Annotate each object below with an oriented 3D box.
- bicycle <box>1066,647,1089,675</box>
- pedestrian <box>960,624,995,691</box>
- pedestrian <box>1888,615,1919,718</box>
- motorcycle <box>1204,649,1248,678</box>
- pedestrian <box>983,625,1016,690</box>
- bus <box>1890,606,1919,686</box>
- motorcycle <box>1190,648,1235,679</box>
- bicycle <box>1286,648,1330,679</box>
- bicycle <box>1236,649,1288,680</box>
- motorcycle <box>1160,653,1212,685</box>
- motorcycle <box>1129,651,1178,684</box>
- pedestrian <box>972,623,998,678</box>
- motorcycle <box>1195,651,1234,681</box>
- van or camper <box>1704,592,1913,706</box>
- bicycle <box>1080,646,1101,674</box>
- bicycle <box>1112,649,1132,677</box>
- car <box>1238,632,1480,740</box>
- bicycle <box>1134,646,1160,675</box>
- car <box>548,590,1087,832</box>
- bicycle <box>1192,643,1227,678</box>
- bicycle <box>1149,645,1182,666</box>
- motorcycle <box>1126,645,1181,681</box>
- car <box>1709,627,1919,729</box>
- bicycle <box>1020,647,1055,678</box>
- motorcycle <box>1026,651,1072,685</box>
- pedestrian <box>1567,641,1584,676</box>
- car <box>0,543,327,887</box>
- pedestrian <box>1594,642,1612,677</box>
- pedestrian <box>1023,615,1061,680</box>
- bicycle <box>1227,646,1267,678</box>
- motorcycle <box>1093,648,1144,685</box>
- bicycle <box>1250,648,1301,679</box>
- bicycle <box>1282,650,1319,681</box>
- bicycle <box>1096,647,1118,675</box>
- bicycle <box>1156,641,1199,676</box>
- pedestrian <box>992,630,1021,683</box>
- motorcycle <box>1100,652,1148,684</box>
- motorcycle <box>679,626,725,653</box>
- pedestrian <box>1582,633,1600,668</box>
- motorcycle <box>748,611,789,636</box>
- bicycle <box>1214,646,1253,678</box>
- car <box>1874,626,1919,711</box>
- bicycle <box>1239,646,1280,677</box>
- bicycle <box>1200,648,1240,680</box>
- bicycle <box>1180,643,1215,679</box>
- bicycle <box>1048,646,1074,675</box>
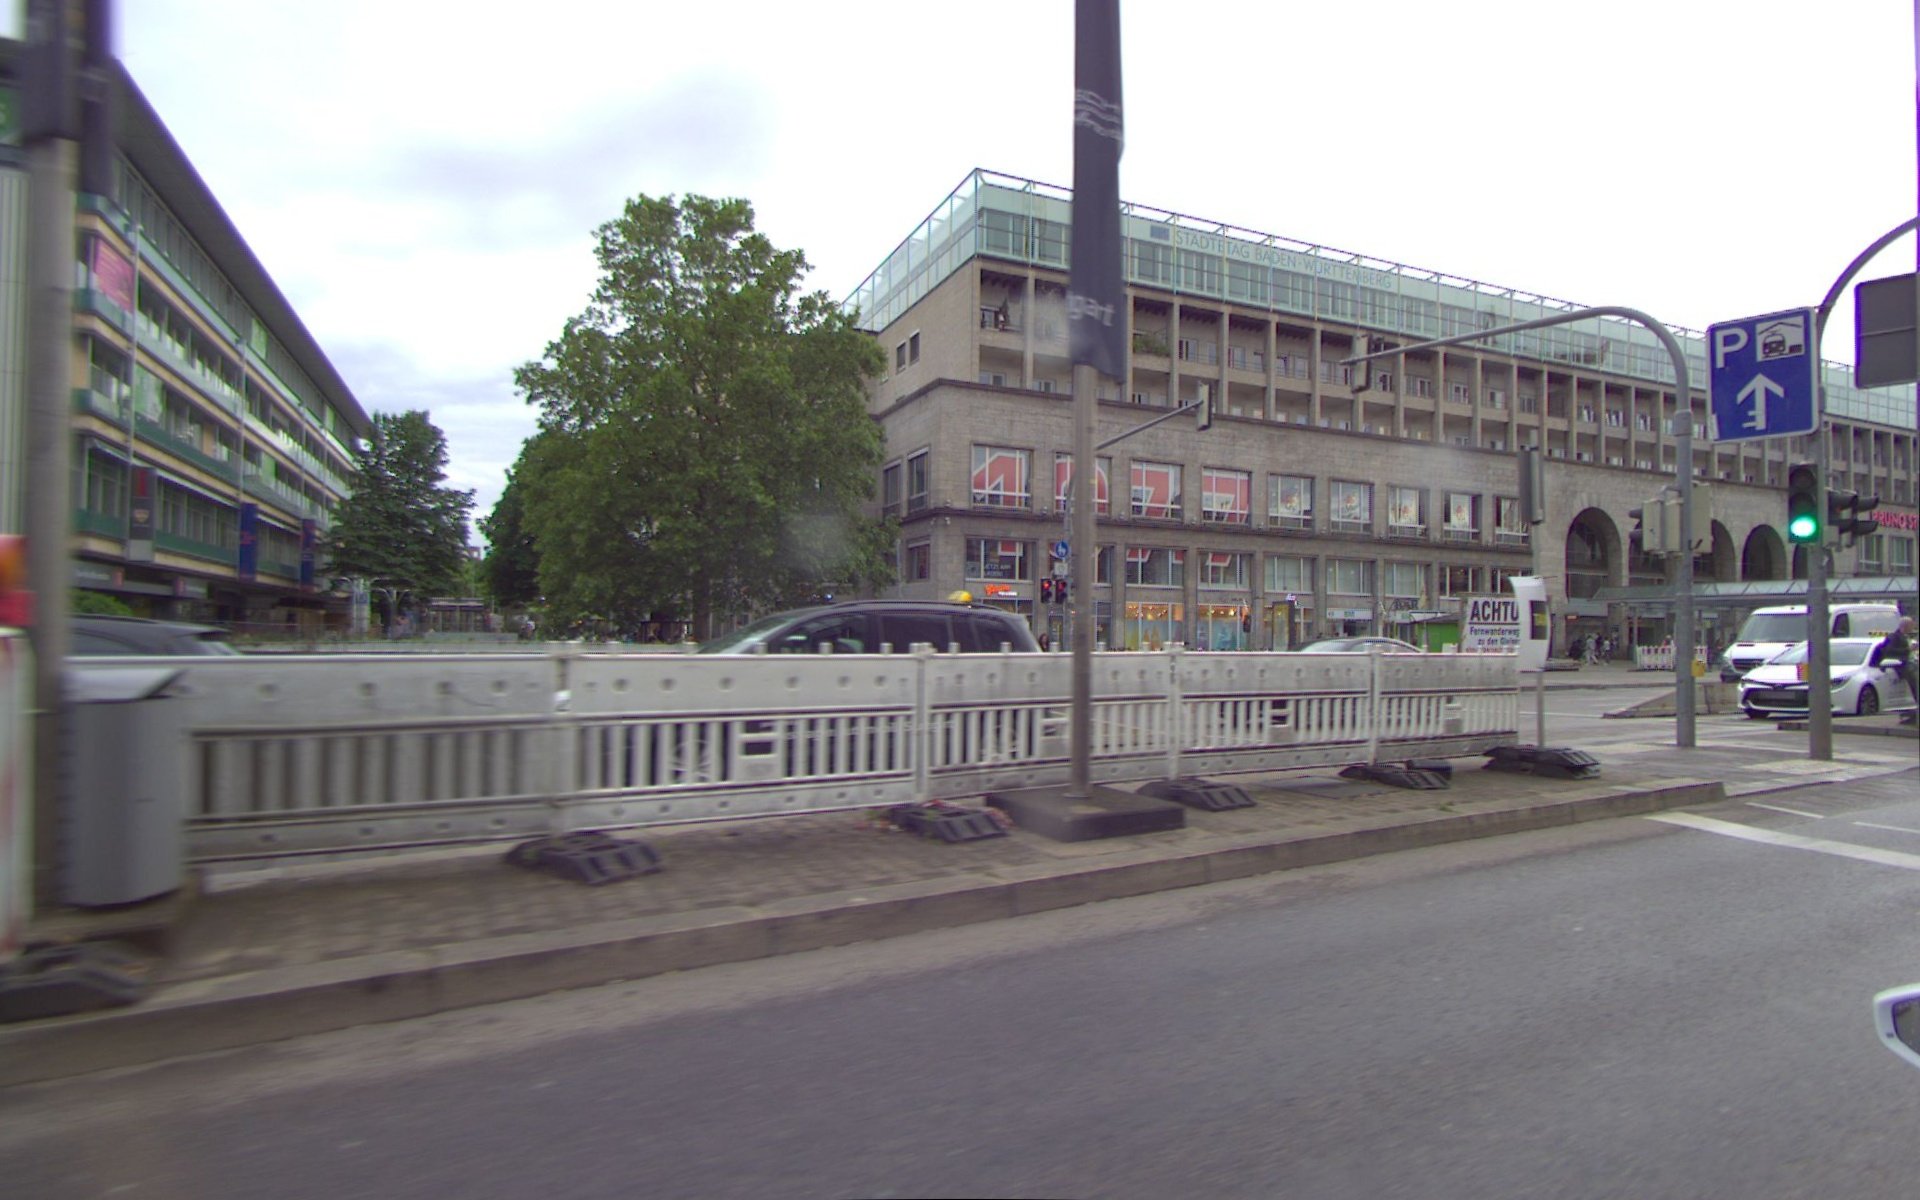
[{"bbox_3d":[4.862,2.515,41.500,0.500,1.071,1.616,1,0,-9],"label":"bicycle"},{"bbox_3d":[0.458,1.516,26.543,0.650,1.708,0.595,1,4,-28],"label":"pedestrian"},{"bbox_3d":[16.471,1.135,17.217,0.585,1.734,0.649,0,0,-27],"label":"pedestrian"},{"bbox_3d":[10.518,2.506,39.806,0.578,1.072,1.694,0,0,-37],"label":"motorcycle"},{"bbox_3d":[1.050,1.538,26.936,0.553,1.707,0.747,1,-4,-28],"label":"pedestrian"},{"bbox_3d":[45.806,2.053,44.688,10.432,3.421,2.869,1,-1,-26],"label":"bus"},{"bbox_3d":[9.789,2.446,39.027,0.578,1.072,1.694,0,0,-37],"label":"motorcycle"},{"bbox_3d":[15.987,2.917,46.190,0.673,1.343,1.915,1,-1,-34],"label":"bicycle"},{"bbox_3d":[12.006,2.556,40.011,0.590,1.070,2.076,0,0,-33],"label":"bicycle"},{"bbox_3d":[8.016,2.439,35.701,1.778,1.072,0.603,1,0,11],"label":"motorcycle"},{"bbox_3d":[6.502,2.269,33.703,1.599,1.060,0.476,1,0,-21],"label":"motorcycle"},{"bbox_3d":[0.764,1.548,30.586,0.522,1.663,0.607,-4,-5,44],"label":"pedestrian"},{"bbox_3d":[9.876,2.554,38.960,0.597,1.072,1.428,0,0,-36],"label":"motorcycle"},{"bbox_3d":[20.888,1.216,24.689,5.302,2.546,1.987,1,-4,-28],"label":"van or camper"},{"bbox_3d":[5.398,2.487,41.632,0.417,1.071,1.616,1,0,-9],"label":"bicycle"},{"bbox_3d":[6.733,2.630,41.857,0.436,1.071,1.618,1,0,-5],"label":"bicycle"},{"bbox_3d":[6.977,1.405,17.530,3.994,1.632,1.806,1,0,-29],"label":"car"},{"bbox_3d":[7.858,2.525,42.177,0.426,1.125,1.604,1,0,-14],"label":"bicycle"},{"bbox_3d":[-1.222,0.807,9.041,4.444,1.722,1.895,1,0,-29],"label":"car"},{"bbox_3d":[10.748,2.592,43.284,0.509,1.453,1.473,0,0,-36],"label":"bicycle"},{"bbox_3d":[8.731,2.351,42.672,1.369,0.862,0.673,1,0,-38],"label":"bicycle"},{"bbox_3d":[7.154,2.317,37.203,0.691,1.244,1.930,0,0,-44],"label":"motorcycle"},{"bbox_3d":[16.060,1.323,18.350,4.782,1.642,2.007,1,-2,-28],"label":"car"},{"bbox_3d":[3.059,2.482,39.925,0.672,1.145,1.477,0,0,-30],"label":"bicycle"},{"bbox_3d":[3.176,2.405,35.880,1.591,1.149,0.583,1,0,7],"label":"motorcycle"},{"bbox_3d":[36.085,3.422,58.867,0.699,2.040,0.573,1,-2,-27],"label":"pedestrian"},{"bbox_3d":[-6.538,0.631,6.037,4.467,1.923,1.895,1,0,-29],"label":"car"},{"bbox_3d":[37.728,3.500,58.943,0.699,2.040,0.573,1,-2,-27],"label":"pedestrian"},{"bbox_3d":[2.028,1.192,24.989,0.746,1.592,0.554,2,-5,-39],"label":"pedestrian"},{"bbox_3d":[12.735,2.739,44.552,0.673,1.343,1.656,1,-1,-34],"label":"bicycle"},{"bbox_3d":[5.360,2.246,33.941,1.599,1.188,0.580,1,0,-21],"label":"motorcycle"},{"bbox_3d":[12.662,2.537,40.351,0.590,1.091,2.076,0,0,-33],"label":"bicycle"},{"bbox_3d":[15.446,2.942,45.618,0.566,1.343,1.551,1,-1,-34],"label":"bicycle"},{"bbox_3d":[6.112,2.524,41.719,0.489,1.071,1.617,1,0,-7],"label":"bicycle"},{"bbox_3d":[9.677,2.582,44.706,1.742,1.453,0.680,1,0,22],"label":"bicycle"},{"bbox_3d":[1.403,1.716,30.512,0.747,1.592,0.470,3,-5,-44],"label":"pedestrian"},{"bbox_3d":[5.858,2.412,35.777,1.598,1.072,0.581,1,0,-18],"label":"motorcycle"},{"bbox_3d":[-10.242,1.555,39.911,1.696,1.060,0.528,1,-1,-29],"label":"motorcycle"},{"bbox_3d":[36.741,2.948,58.505,0.699,2.040,0.573,1,-2,-27],"label":"pedestrian"},{"bbox_3d":[-8.316,1.042,43.660,1.696,1.060,0.528,1,-1,-29],"label":"motorcycle"},{"bbox_3d":[12.025,2.715,44.181,0.673,1.343,1.656,1,-1,-34],"label":"bicycle"},{"bbox_3d":[21.529,1.432,21.085,4.621,1.712,1.923,2,-3,-27],"label":"car"},{"bbox_3d":[13.384,2.745,44.973,0.673,1.343,1.718,1,-1,-34],"label":"bicycle"},{"bbox_3d":[11.285,2.760,43.560,0.673,1.343,1.656,1,-1,-34],"label":"bicycle"},{"bbox_3d":[10.182,2.585,43.077,0.561,1.453,1.473,0,0,-36],"label":"bicycle"},{"bbox_3d":[4.147,2.473,41.329,0.693,1.071,1.616,1,0,-9],"label":"bicycle"}]
